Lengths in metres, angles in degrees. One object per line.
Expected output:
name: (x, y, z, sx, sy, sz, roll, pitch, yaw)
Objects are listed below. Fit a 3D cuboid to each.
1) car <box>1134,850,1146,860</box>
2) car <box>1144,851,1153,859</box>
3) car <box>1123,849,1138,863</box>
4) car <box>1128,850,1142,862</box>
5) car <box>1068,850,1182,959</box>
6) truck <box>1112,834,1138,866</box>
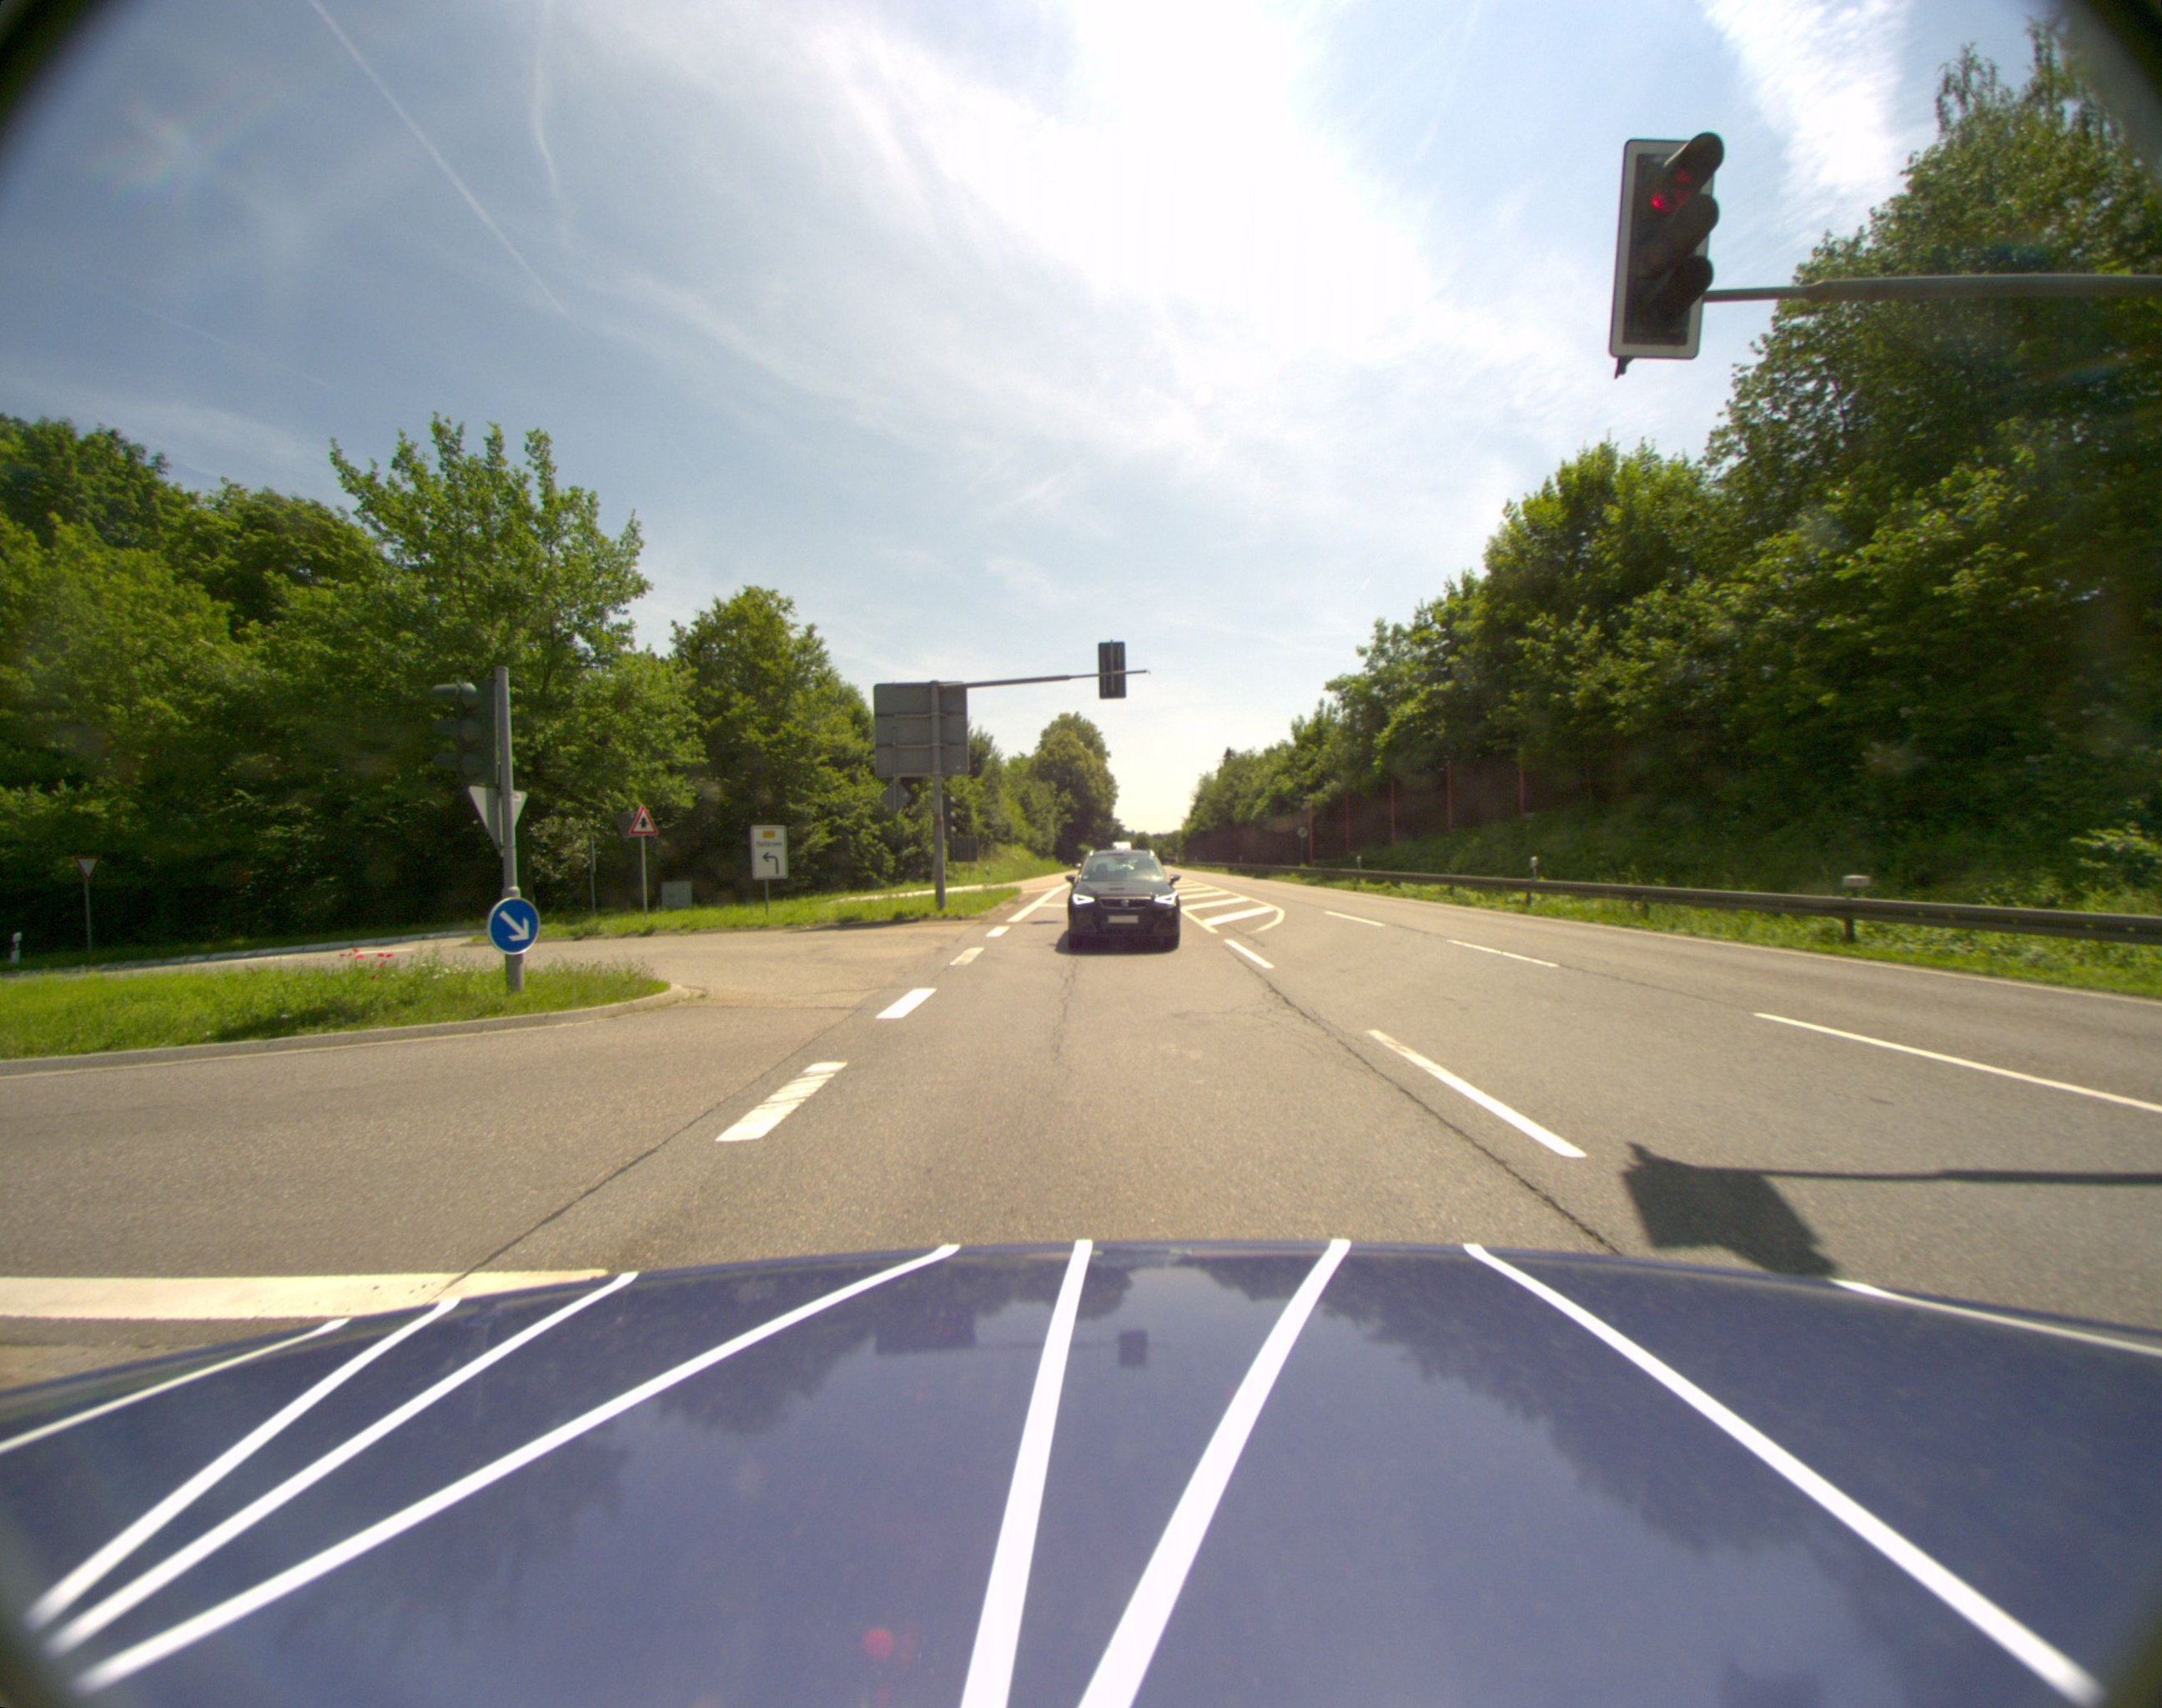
car: (11.054, 0.211, 142.211, 1.998, 1.756, 4.000, -1, 1, 3)
car: (16.280, 0.296, 183.162, 1.998, 1.756, 4.000, -1, 1, 3)
car: (6.874, 0.265, 106.754, 1.998, 1.756, 4.000, -1, 1, 3)
car: (8.437, 0.242, 118.325, 1.998, 1.756, 4.000, -1, 1, 3)
car: (0.606, 0.724, 13.007, 1.627, 1.536, 3.999, 0, 1, -1)
truck: (5.682, -0.513, 99.031, 2.840, 3.794, 8.450, -2, 0, 1)
